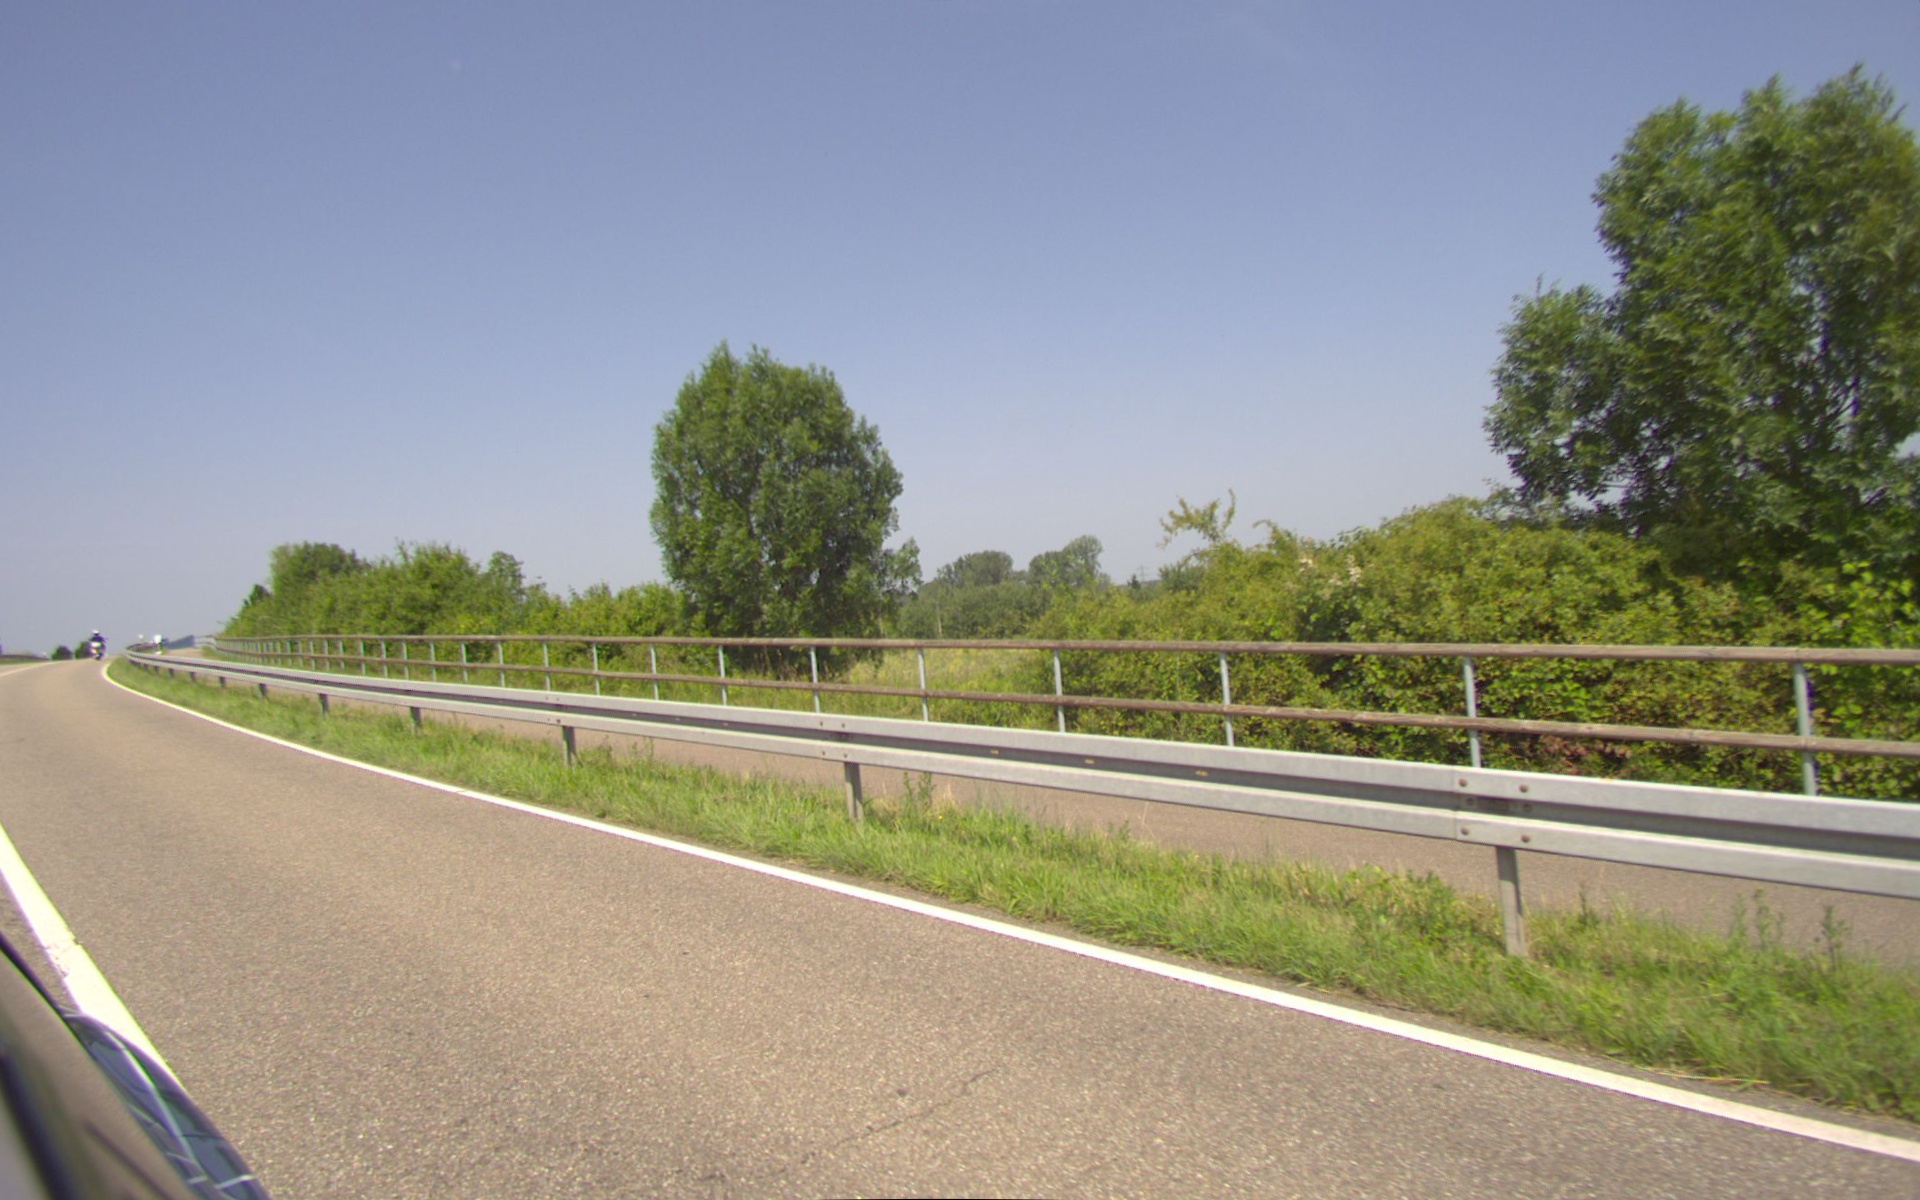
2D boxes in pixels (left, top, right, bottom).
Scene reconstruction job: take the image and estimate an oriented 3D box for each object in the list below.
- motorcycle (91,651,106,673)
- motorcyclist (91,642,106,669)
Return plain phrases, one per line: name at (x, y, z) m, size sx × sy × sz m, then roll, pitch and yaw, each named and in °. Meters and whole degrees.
motorcycle at (-50.107, 3.584, 58.867) m, size 0.635 × 1.233 × 1.641 m, roll 0°, pitch -2°, yaw -40°
motorcyclist at (-50.116, 3.220, 58.858) m, size 0.646 × 1.574 × 0.776 m, roll 0°, pitch -3°, yaw -40°
